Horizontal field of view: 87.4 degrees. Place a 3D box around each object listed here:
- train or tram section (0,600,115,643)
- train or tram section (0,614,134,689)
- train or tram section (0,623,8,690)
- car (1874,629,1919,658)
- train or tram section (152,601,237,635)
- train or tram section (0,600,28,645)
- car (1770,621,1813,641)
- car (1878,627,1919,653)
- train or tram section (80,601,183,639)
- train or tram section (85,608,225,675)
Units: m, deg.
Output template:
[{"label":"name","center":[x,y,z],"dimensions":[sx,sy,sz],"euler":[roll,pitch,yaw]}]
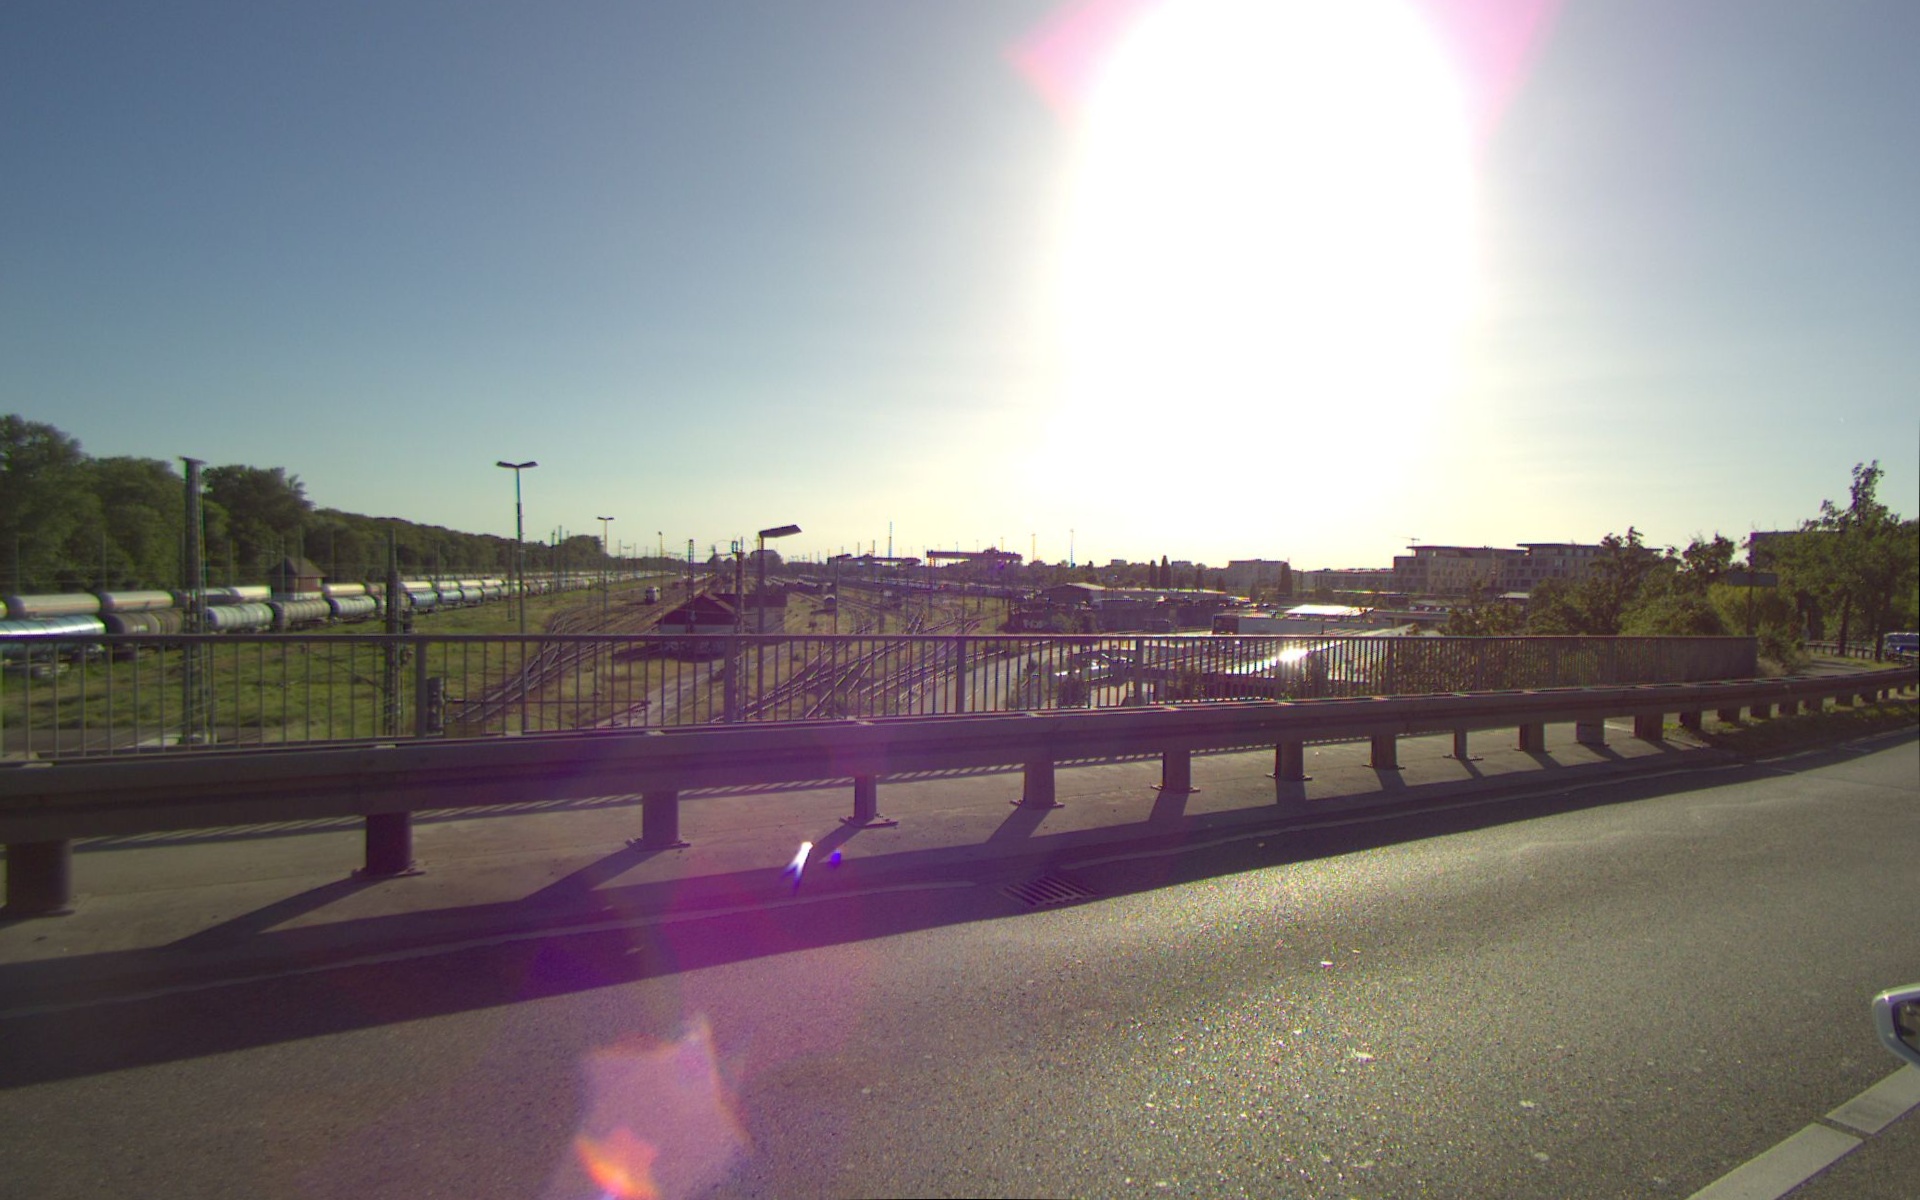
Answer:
[{"label":"train or tram section","center":[-115.863,2.649,128.720],"dimensions":[3.980,5.154,17.821],"euler":[1,0,-13]},{"label":"train or tram section","center":[-76.844,4.080,84.809],"dimensions":[3.838,5.592,16.465],"euler":[1,0,-12]},{"label":"train or tram section","center":[-73.300,4.240,68.753],"dimensions":[3.838,5.083,16.328],"euler":[1,0,-12]},{"label":"car","center":[51.760,2.361,55.265],"dimensions":[1.769,1.450,3.812],"euler":[1,-1,37]},{"label":"train or tram section","center":[-124.047,2.816,163.333],"dimensions":[3.980,5.154,17.821],"euler":[1,0,-13]},{"label":"train or tram section","center":[-111.708,2.564,111.209],"dimensions":[3.980,5.154,18.140],"euler":[1,0,-13]},{"label":"car","center":[71.388,2.656,86.267],"dimensions":[1.806,1.576,3.891],"euler":[1,0,24]},{"label":"car","center":[62.013,2.603,65.844],"dimensions":[1.832,1.606,3.907],"euler":[1,0,30]},{"label":"train or tram section","center":[-119.958,2.733,146.045],"dimensions":[3.980,5.154,17.821],"euler":[1,0,-13]},{"label":"train or tram section","center":[-80.411,3.949,101.110],"dimensions":[3.838,6.089,16.920],"euler":[1,0,-12]}]
